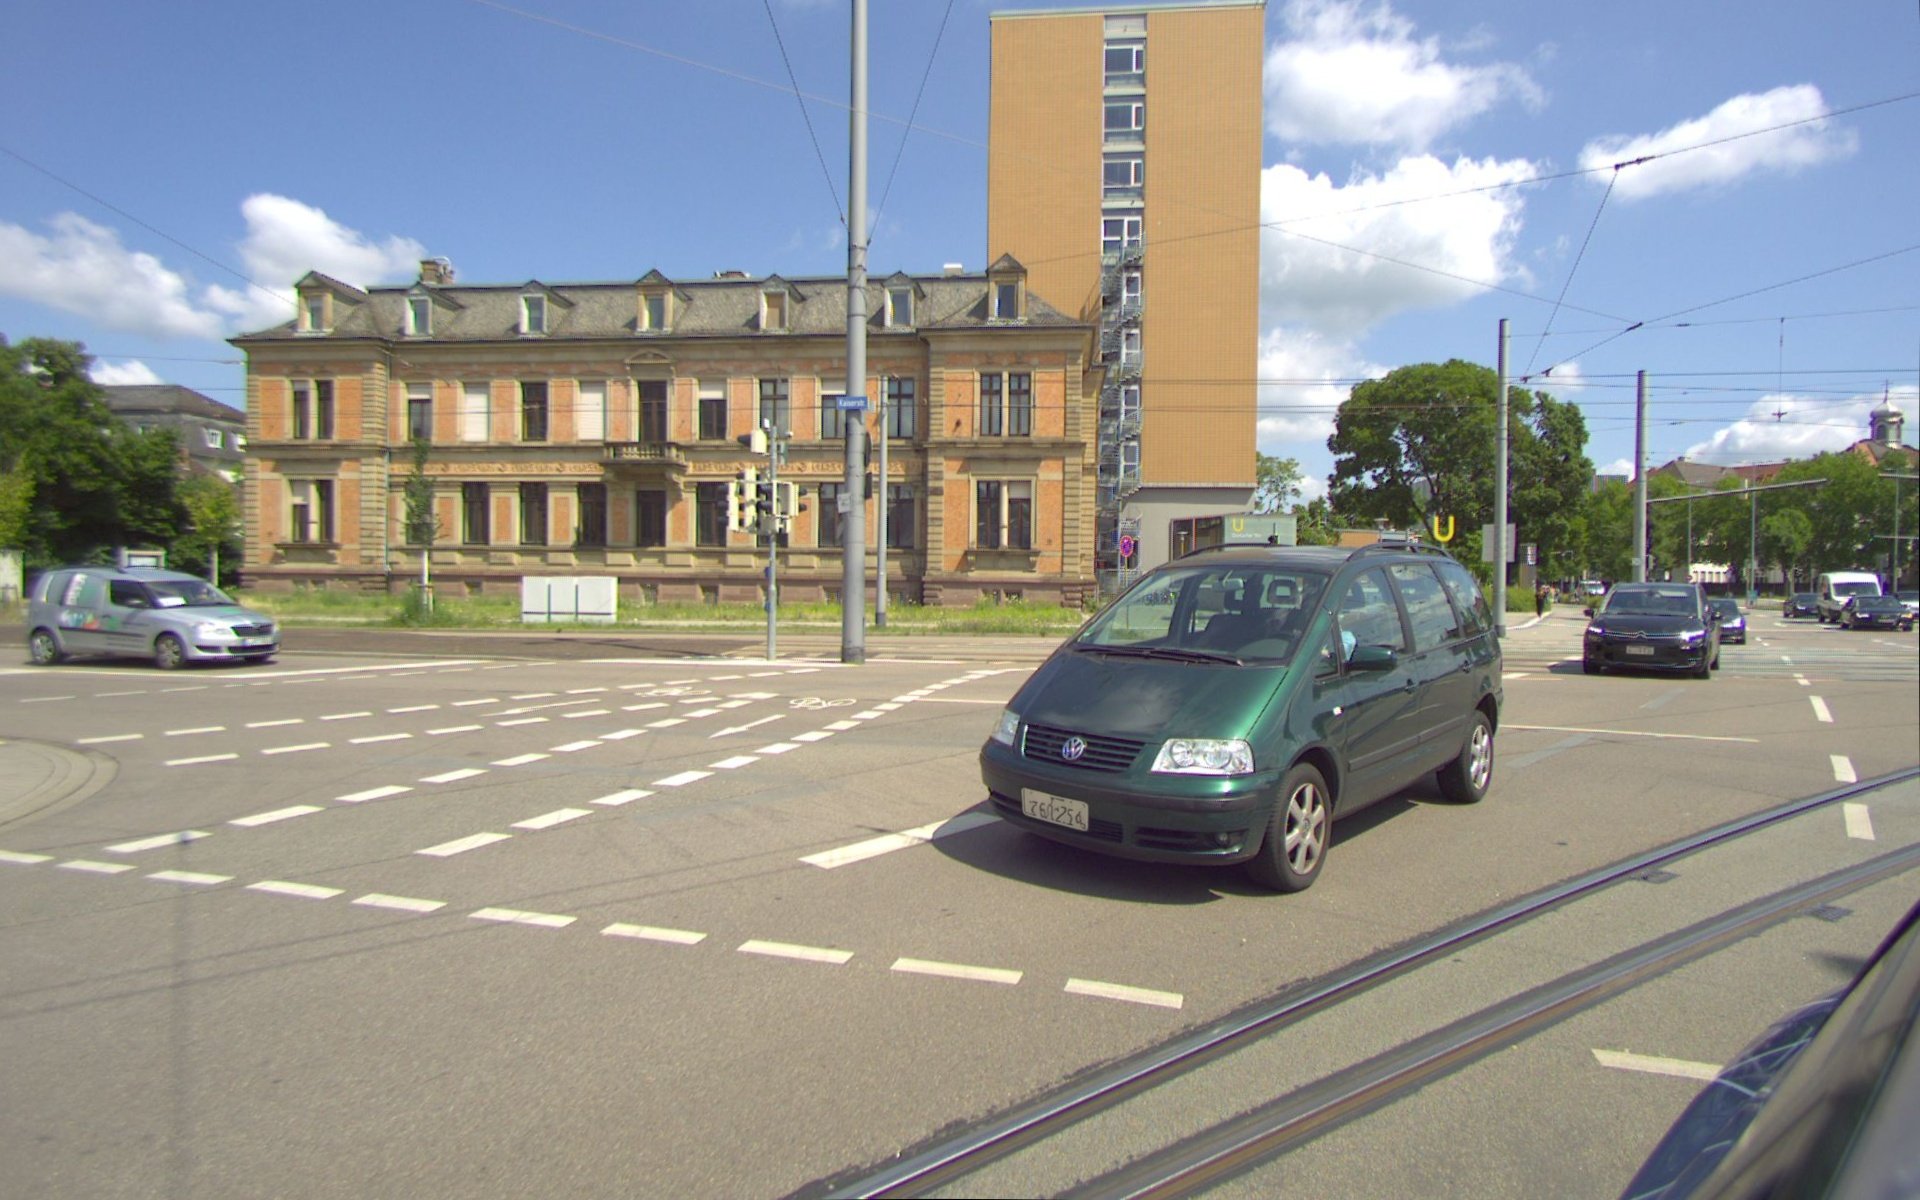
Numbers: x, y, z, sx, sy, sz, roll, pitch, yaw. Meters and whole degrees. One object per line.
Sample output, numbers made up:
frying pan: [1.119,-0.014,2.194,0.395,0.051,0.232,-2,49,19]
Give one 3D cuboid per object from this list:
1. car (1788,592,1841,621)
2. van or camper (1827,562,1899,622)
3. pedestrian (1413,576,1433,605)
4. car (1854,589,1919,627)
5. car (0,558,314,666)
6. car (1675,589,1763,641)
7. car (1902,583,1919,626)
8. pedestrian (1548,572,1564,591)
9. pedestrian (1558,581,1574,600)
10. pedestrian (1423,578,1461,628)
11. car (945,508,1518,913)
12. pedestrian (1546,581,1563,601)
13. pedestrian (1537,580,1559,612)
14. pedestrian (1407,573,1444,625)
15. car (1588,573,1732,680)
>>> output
car: [49.941,0.372,59.185,1.768,1.594,3.916,2,1,32]
van or camper: [44.381,-0.424,49.865,2.221,2.769,5.446,2,2,38]
pedestrian: [27.020,-0.563,59.048,0.826,1.646,0.757,2,1,40]
car: [38.646,0.290,42.079,1.892,1.482,4.203,2,2,38]
car: [-13.434,0.139,16.984,4.359,1.607,1.867,1,1,13]
car: [24.064,0.421,32.034,1.867,1.504,4.360,2,2,41]
car: [47.696,0.240,49.606,1.806,2.038,3.946,2,2,37]
pedestrian: [55.568,-1.724,94.311,1.141,1.710,1.299,2,1,27]
pedestrian: [54.704,-0.844,91.352,1.141,1.710,1.299,2,1,27]
pedestrian: [17.117,0.083,35.975,1.011,1.741,0.726,1,1,10]
car: [1.954,0.451,6.442,1.815,1.739,4.020,0,1,44]
pedestrian: [52.756,-0.783,89.813,1.141,1.710,1.299,2,1,27]
pedestrian: [29.684,-0.215,51.098,0.826,1.605,0.757,2,1,40]
pedestrian: [16.817,-0.055,36.578,1.011,1.835,0.726,1,1,10]
car: [12.695,0.372,18.233,1.865,1.636,4.366,3,3,38]
